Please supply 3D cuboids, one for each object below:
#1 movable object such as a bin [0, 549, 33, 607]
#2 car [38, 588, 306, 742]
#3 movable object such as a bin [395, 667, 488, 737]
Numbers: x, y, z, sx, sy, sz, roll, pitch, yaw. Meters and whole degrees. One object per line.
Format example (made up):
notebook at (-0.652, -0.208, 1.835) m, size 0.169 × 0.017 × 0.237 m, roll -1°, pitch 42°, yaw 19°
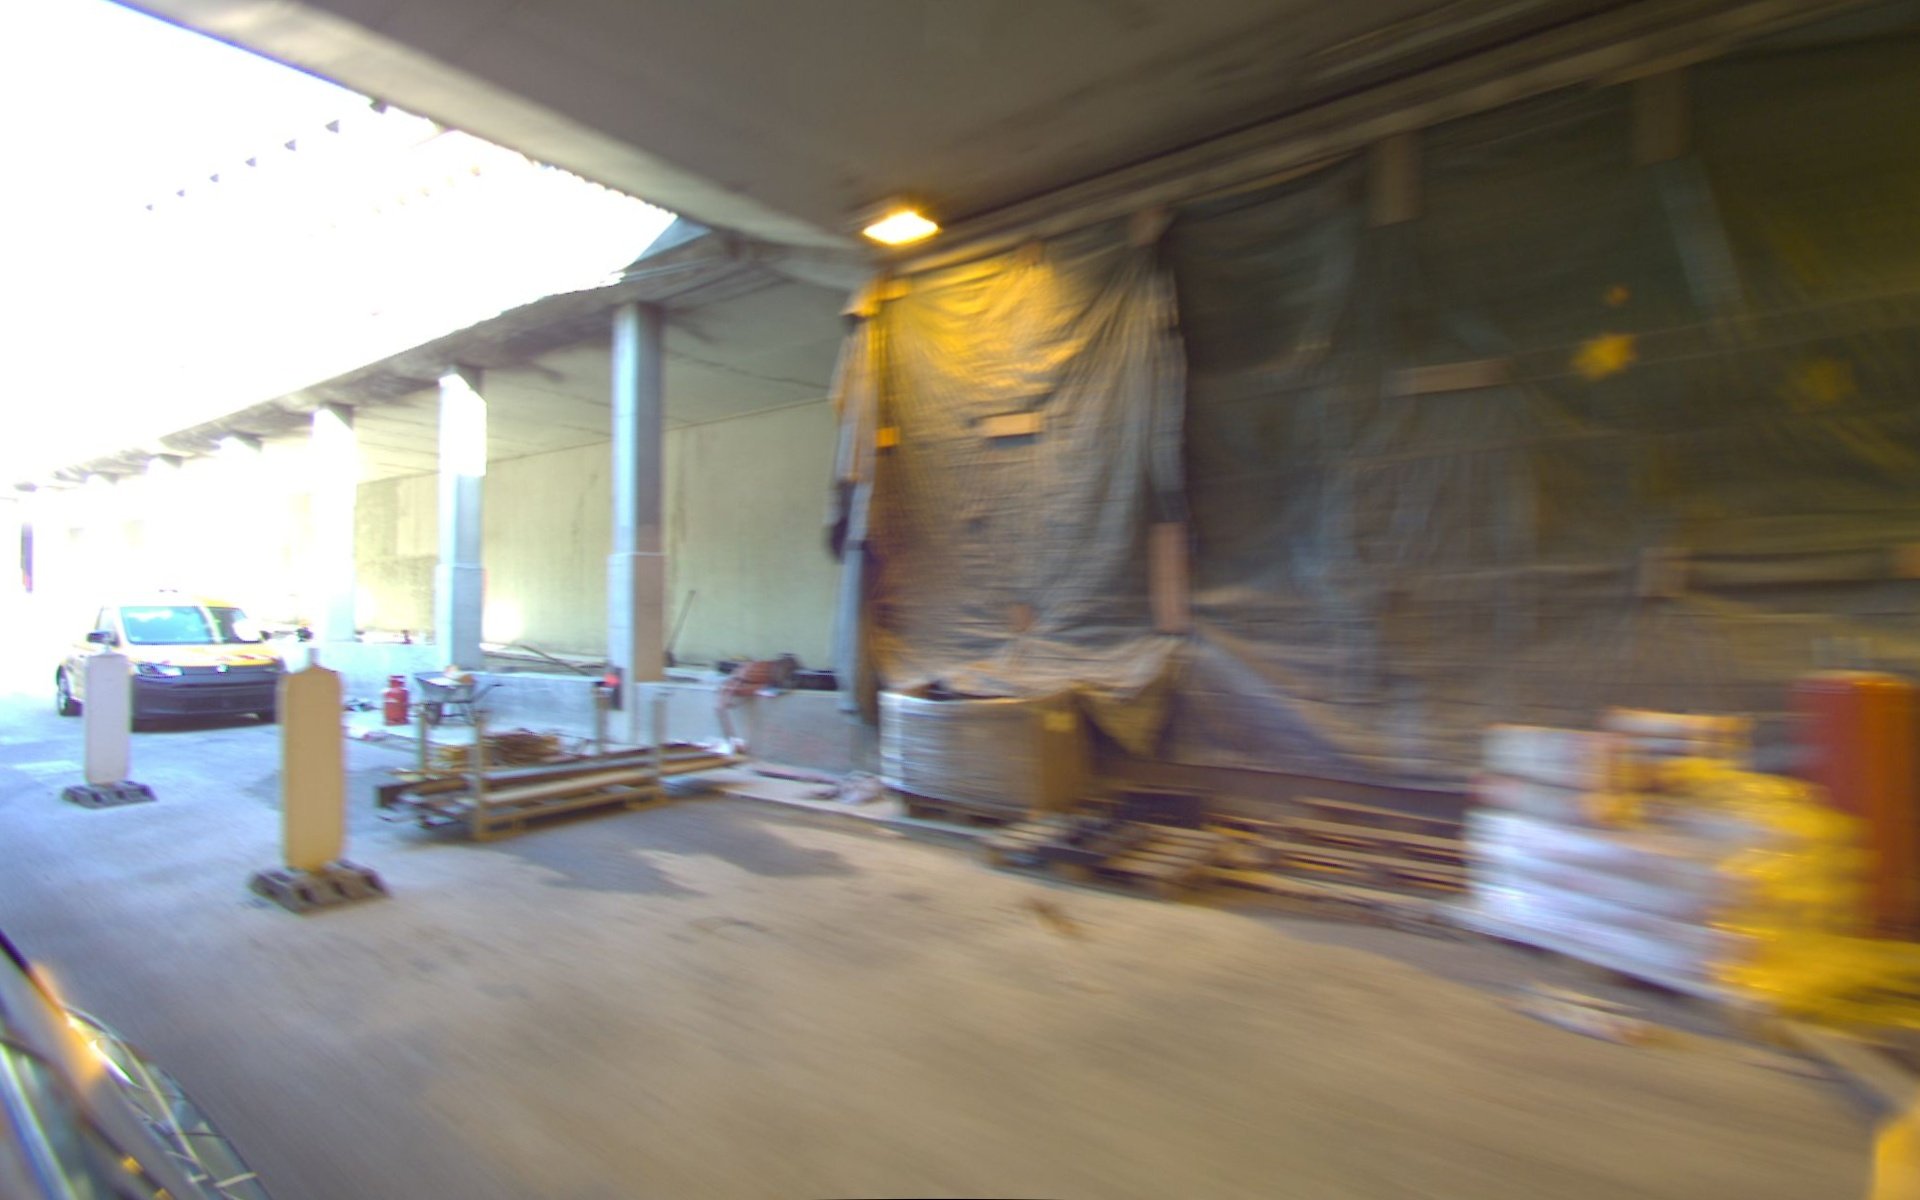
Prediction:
movable object such as a bin at (-34.842, -0.808, 36.007) m, size 3.146 × 2.002 × 1.873 m, roll 2°, pitch 1°, yaw 29°
car at (-10.866, 0.772, 13.854) m, size 4.427 × 1.789 × 1.831 m, roll 0°, pitch -1°, yaw 37°
movable object such as a bin at (-6.457, 1.249, 12.598) m, size 1.030 × 0.747 × 0.645 m, roll 1°, pitch -1°, yaw 37°
